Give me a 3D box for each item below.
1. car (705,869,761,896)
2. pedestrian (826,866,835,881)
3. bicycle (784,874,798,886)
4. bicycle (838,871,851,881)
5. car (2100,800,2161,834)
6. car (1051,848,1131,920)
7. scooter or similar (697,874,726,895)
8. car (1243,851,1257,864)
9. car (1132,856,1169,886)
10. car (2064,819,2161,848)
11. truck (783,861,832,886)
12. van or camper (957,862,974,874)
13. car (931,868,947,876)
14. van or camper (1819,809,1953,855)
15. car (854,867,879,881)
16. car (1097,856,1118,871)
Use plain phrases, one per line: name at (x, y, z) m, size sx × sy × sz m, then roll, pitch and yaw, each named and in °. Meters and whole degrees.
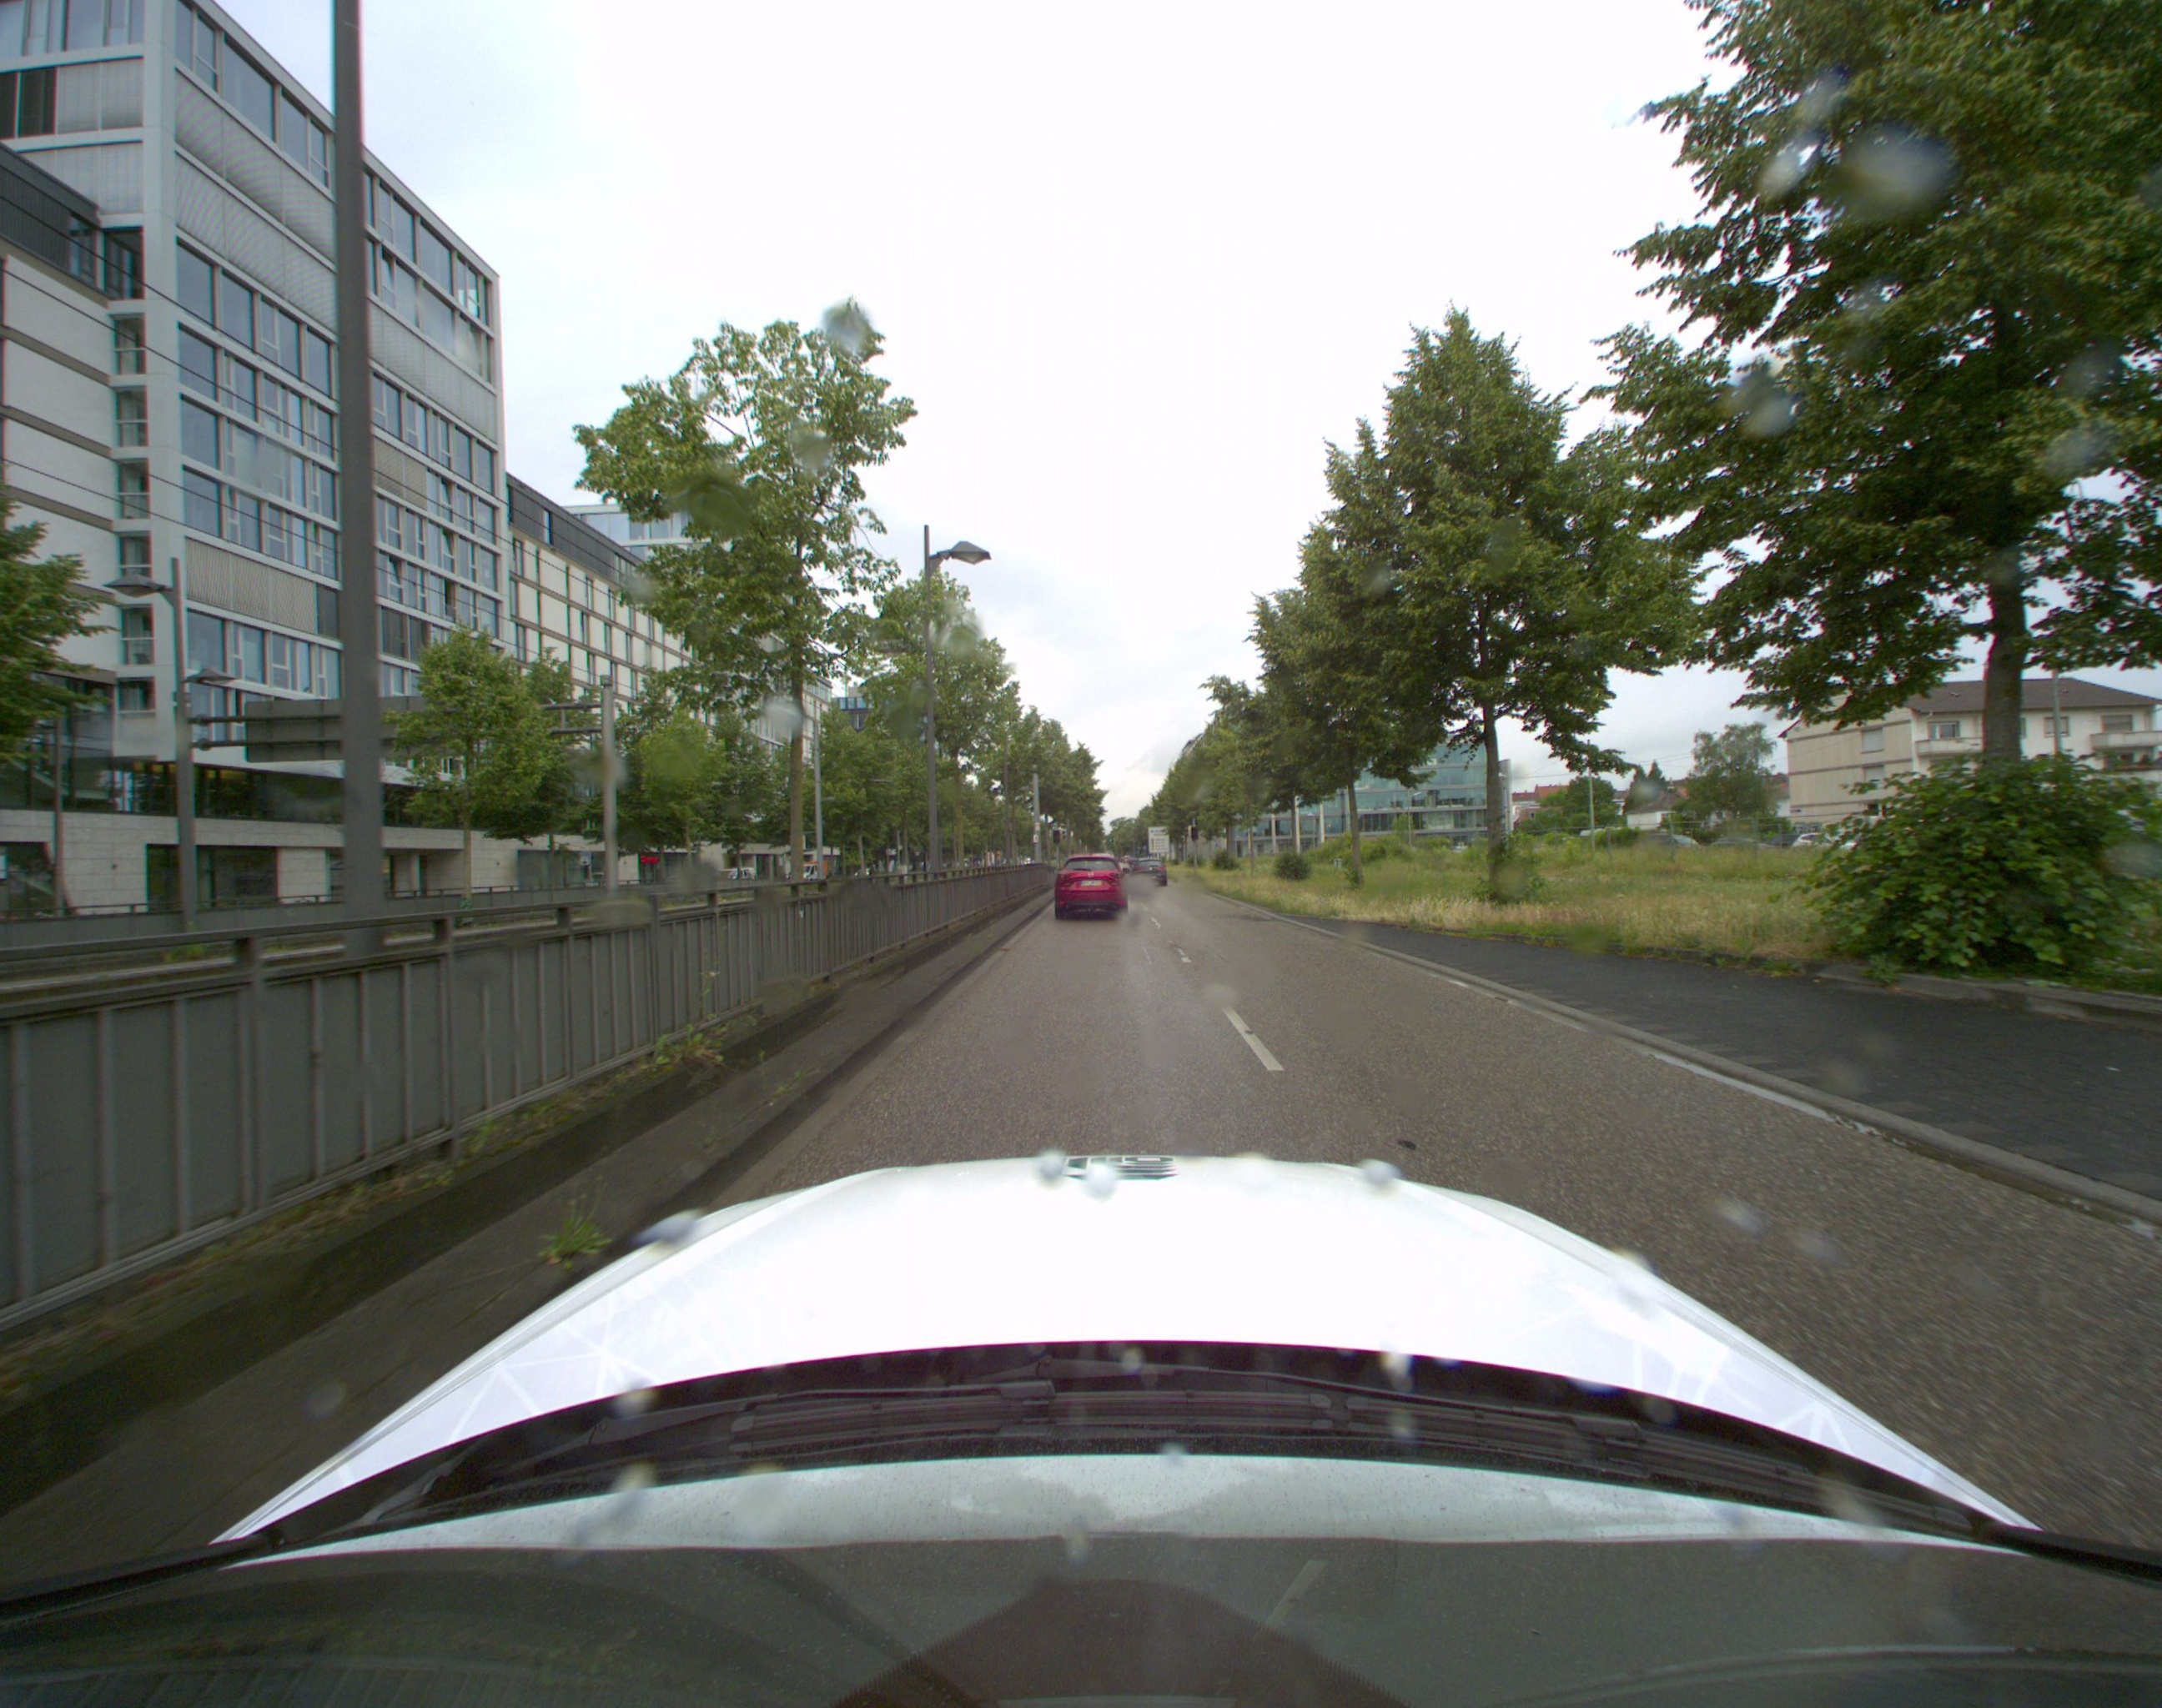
car at (-27.053, 2.196, 63.485) m, size 1.986 × 1.852 × 5.165 m, roll -2°, pitch 0°, yaw 1°
pedestrian at (-34.791, 2.670, 112.982) m, size 0.789 × 1.981 × 0.858 m, roll -2°, pitch -1°, yaw 9°
bicycle at (-34.907, 3.132, 98.017) m, size 1.427 × 1.482 × 0.546 m, roll -2°, pitch -1°, yaw 0°
bicycle at (-24.327, 2.271, 83.743) m, size 0.596 × 0.945 × 1.759 m, roll -2°, pitch 0°, yaw 5°
car at (63.557, -2.234, 47.299) m, size 2.157 × 1.894 × 5.202 m, roll -2°, pitch 0°, yaw -2°
car at (0.281, 0.743, 21.627) m, size 1.891 × 1.677 × 4.000 m, roll -2°, pitch 0°, yaw 1°
scooter or similar at (-33.403, 2.762, 73.669) m, size 2.119 × 1.825 × 0.884 m, roll -2°, pitch -1°, yaw -3°
car at (25.033, 0.480, 120.709) m, size 1.844 × 1.581 × 4.008 m, roll -1°, pitch -5°, yaw 9°
car at (3.615, 0.849, 42.828) m, size 1.737 × 1.465 × 3.783 m, roll -2°, pitch 0°, yaw 2°
car at (54.920, -1.076, 42.800) m, size 1.689 × 1.352 × 4.034 m, roll -2°, pitch 0°, yaw 2°
truck at (-26.778, 1.899, 80.044) m, size 2.417 × 2.291 × 6.310 m, roll -2°, pitch 0°, yaw 1°
van or camper at (-23.661, 2.780, 166.490) m, size 2.424 × 2.315 × 5.852 m, roll -2°, pitch 0°, yaw 2°
car at (-24.379, 3.087, 139.873) m, size 1.986 × 1.378 × 4.001 m, roll -2°, pitch 0°, yaw 1°
van or camper at (52.407, -1.364, 53.261) m, size 2.301 × 2.689 × 6.394 m, roll -2°, pitch -1°, yaw -1°
car at (-25.646, 2.372, 97.631) m, size 1.848 × 1.465 × 3.989 m, roll -2°, pitch 0°, yaw 1°
car at (2.620, 0.904, 81.730) m, size 1.961 × 1.437 × 4.552 m, roll -1°, pitch 0°, yaw 0°
